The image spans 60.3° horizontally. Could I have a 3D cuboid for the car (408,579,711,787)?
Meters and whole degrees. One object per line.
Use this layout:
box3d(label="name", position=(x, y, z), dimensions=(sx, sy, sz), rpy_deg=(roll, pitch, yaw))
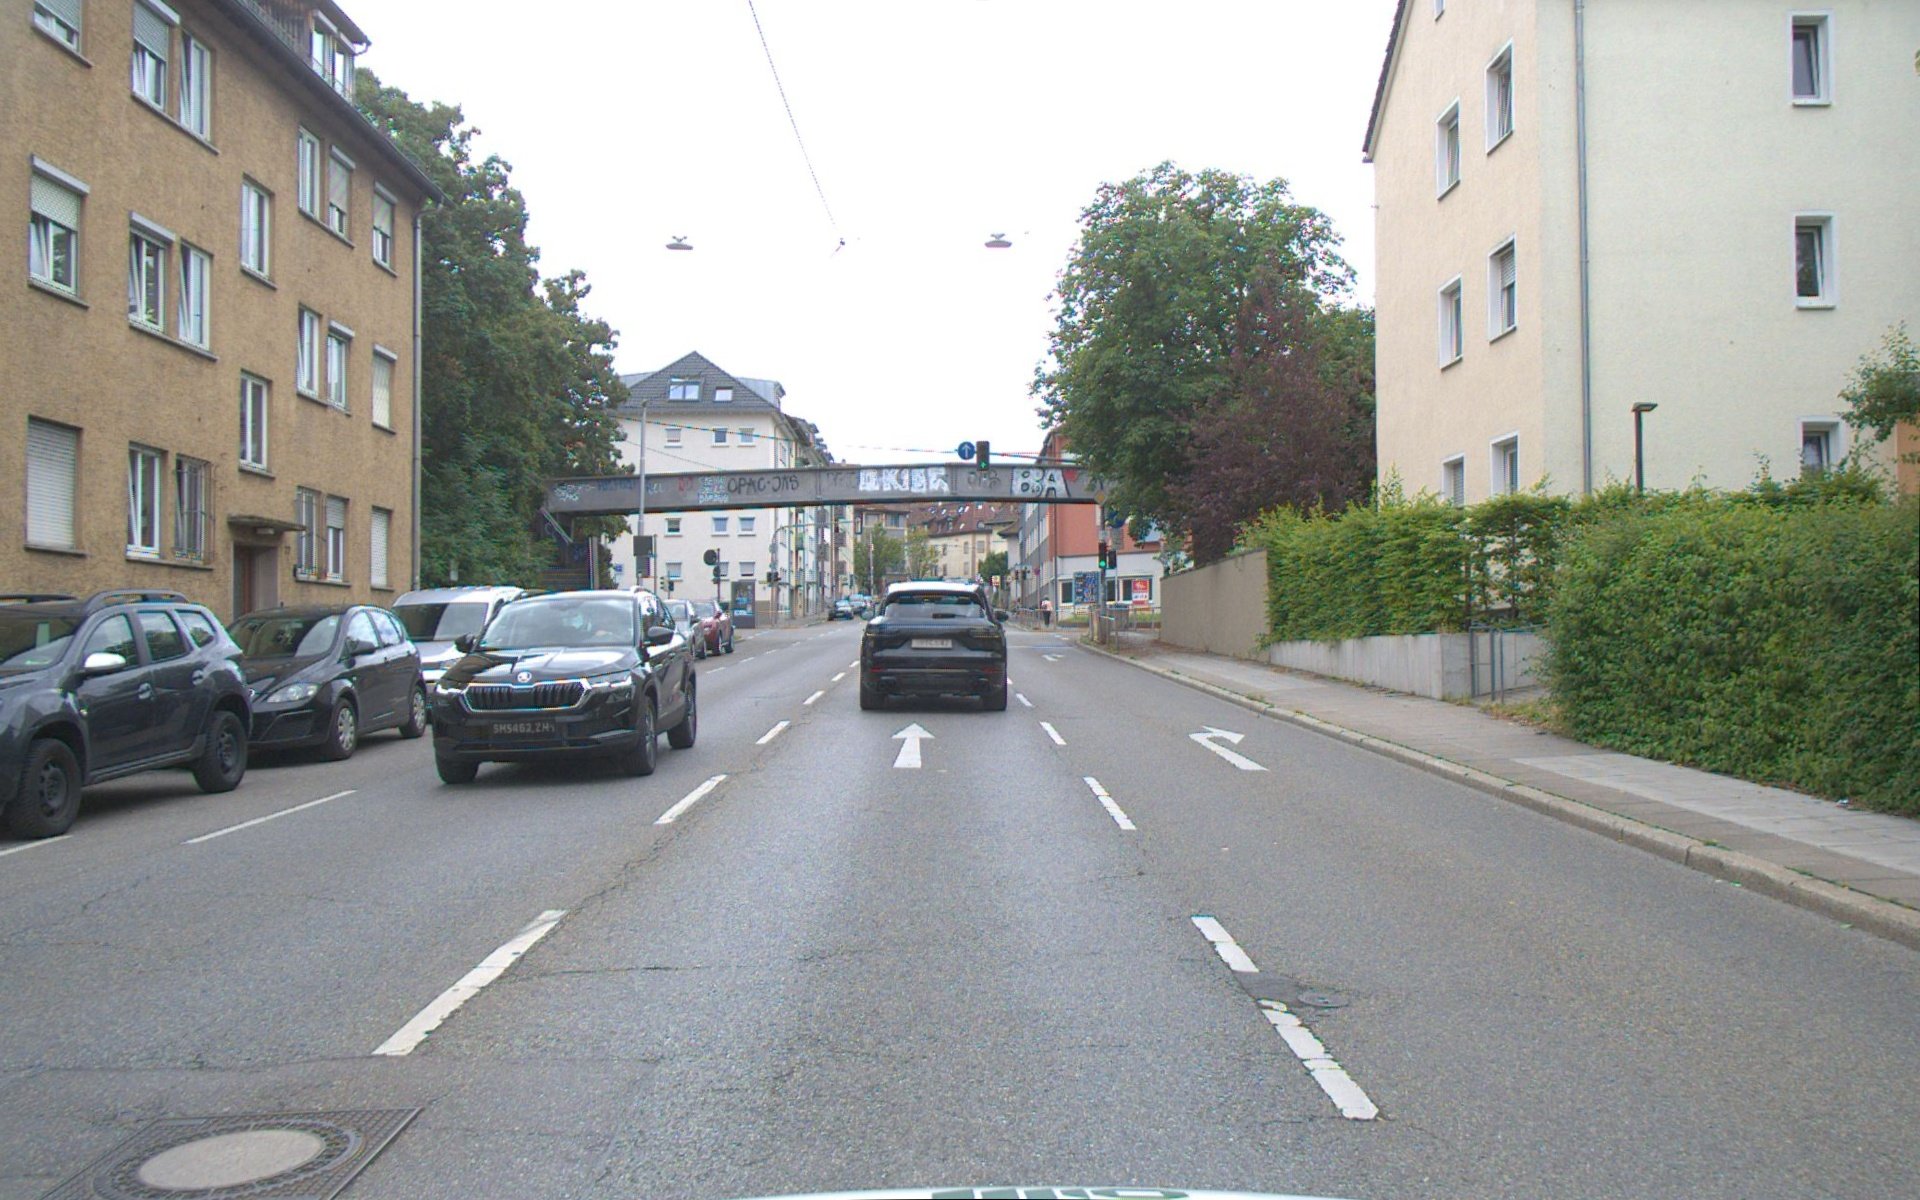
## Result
box3d(label="car", position=(-3.508, 0.655, 15.281), dimensions=(1.802, 1.618, 4.163), rpy_deg=(-1, 0, -1))

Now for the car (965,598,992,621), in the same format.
box3d(label="car", position=(1.201, 0.613, 109.078), dimensions=(1.706, 1.424, 4.000), rpy_deg=(0, 1, 0))

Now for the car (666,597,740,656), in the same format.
box3d(label="car", position=(-7.350, 0.724, 47.553), dimensions=(1.502, 1.567, 3.981), rpy_deg=(-2, 0, -1))

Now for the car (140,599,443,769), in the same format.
box3d(label="car", position=(-7.035, 0.799, 17.877), dimensions=(1.716, 1.557, 4.097), rpy_deg=(-2, 0, -3))

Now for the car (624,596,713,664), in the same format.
box3d(label="car", position=(-7.484, 0.735, 42.791), dimensions=(1.711, 1.596, 3.906), rpy_deg=(-2, 0, -3))

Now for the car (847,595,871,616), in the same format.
box3d(label="car", position=(-8.313, 0.452, 136.857), dimensions=(1.729, 1.679, 4.000), rpy_deg=(-1, 0, 0))

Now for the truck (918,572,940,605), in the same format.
box3d(label="truck", position=(-3.388, -1.225, 180.765), dimensions=(2.220, 3.484, 9.876), rpy_deg=(-1, 0, -1))

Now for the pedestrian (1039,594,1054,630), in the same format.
box3d(label="pedestrian", position=(4.377, 0.617, 83.672), dimensions=(0.639, 1.823, 0.714), rpy_deg=(0, 0, -3))

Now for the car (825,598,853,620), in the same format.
box3d(label="car", position=(-8.800, 0.648, 120.238), dimensions=(1.729, 1.534, 4.000), rpy_deg=(-1, 0, 0))

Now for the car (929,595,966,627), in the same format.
box3d(label="car", position=(-0.610, 0.521, 79.209), dimensions=(1.706, 1.424, 4.000), rpy_deg=(0, 1, 0))

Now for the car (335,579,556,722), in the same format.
box3d(label="car", position=(-7.187, 0.645, 23.585), dimensions=(1.740, 1.784, 4.557), rpy_deg=(-2, 0, -1))

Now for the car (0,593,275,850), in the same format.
box3d(label="car", position=(-7.009, 0.810, 12.559), dimensions=(1.746, 1.637, 4.265), rpy_deg=(-3, 0, 0))

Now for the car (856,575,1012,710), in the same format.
box3d(label="car", position=(-0.340, 0.497, 22.751), dimensions=(1.953, 1.691, 4.000), rpy_deg=(0, 1, -1))
